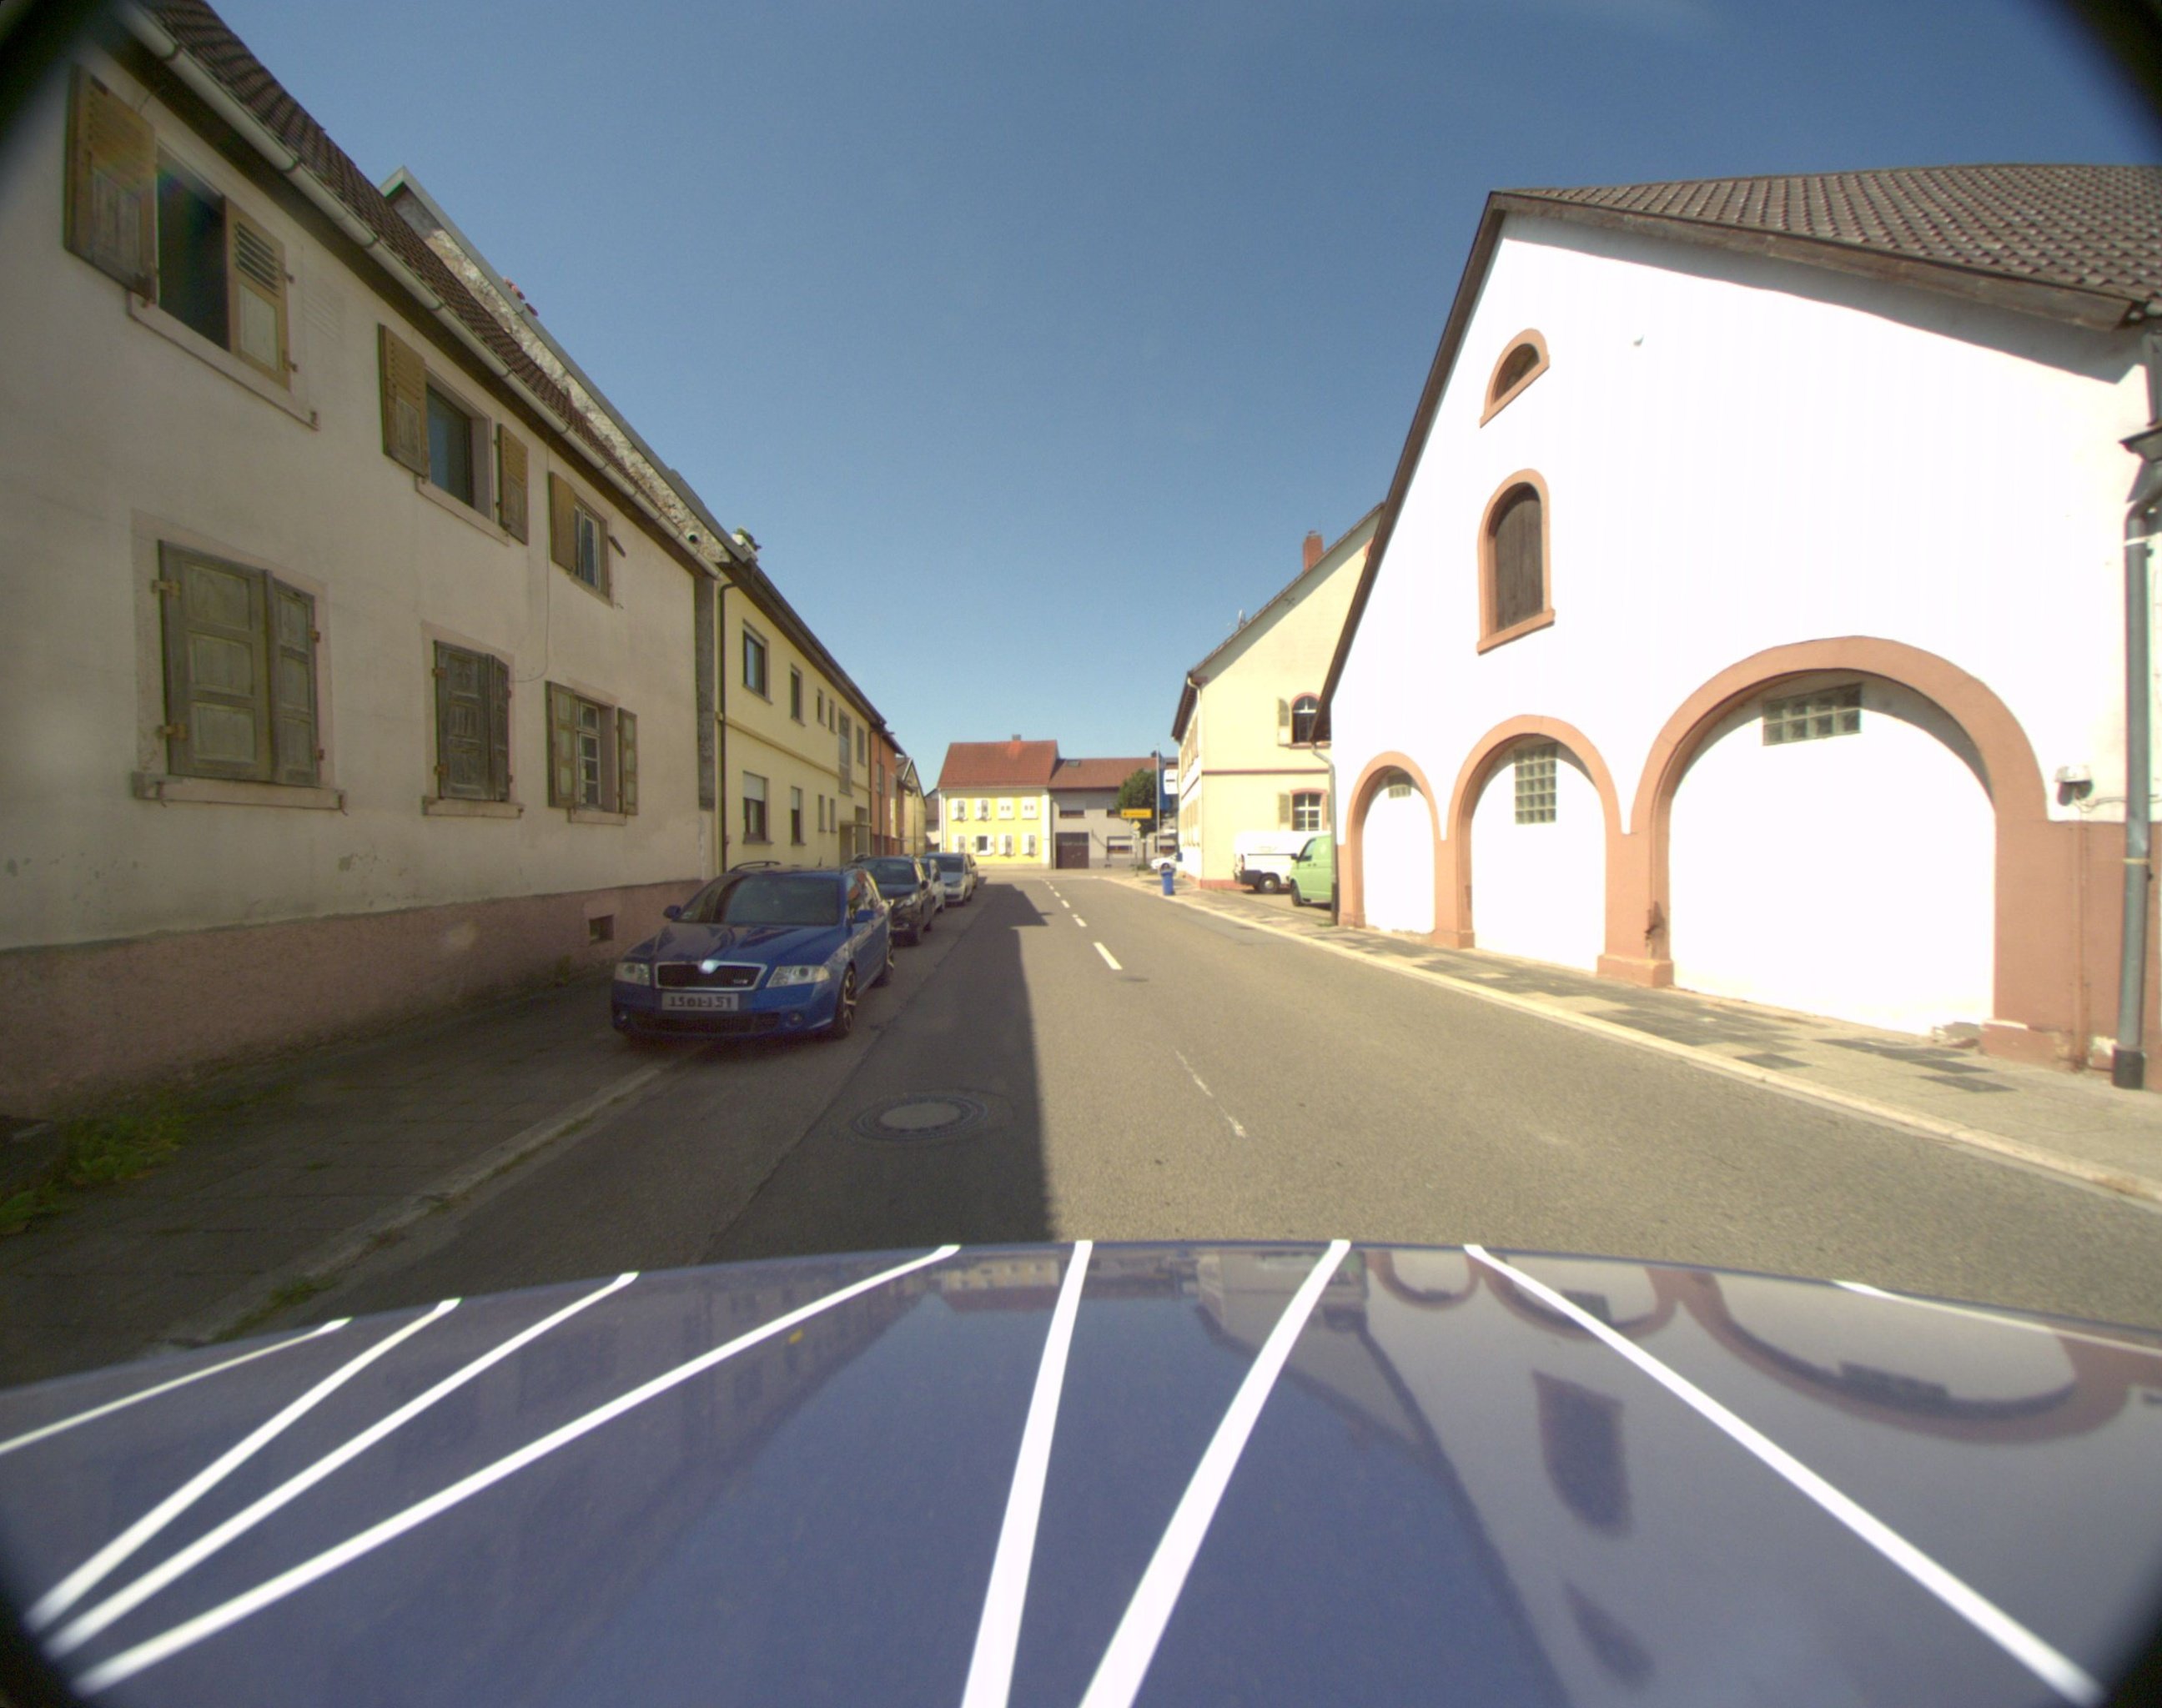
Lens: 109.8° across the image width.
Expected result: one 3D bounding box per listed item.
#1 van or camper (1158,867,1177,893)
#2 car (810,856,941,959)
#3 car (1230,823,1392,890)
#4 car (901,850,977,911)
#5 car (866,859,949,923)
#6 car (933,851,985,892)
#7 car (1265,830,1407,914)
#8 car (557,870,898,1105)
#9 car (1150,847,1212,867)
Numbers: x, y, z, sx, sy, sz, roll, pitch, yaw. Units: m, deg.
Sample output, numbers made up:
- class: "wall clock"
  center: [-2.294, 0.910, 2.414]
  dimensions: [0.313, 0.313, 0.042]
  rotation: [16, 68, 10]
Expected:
- class: "van or camper"
  center: [3.169, 0.950, 27.856]
  dimensions: [0.591, 0.946, 0.600]
  rotation: [-1, 1, 1]
- class: "car"
  center: [-3.633, 0.858, 14.124]
  dimensions: [1.704, 1.575, 4.024]
  rotation: [0, 1, -6]
- class: "car"
  center: [8.087, 0.090, 27.135]
  dimensions: [5.186, 2.184, 2.123]
  rotation: [-2, 1, 6]
- class: "car"
  center: [-4.492, 0.768, 24.612]
  dimensions: [1.904, 1.718, 4.246]
  rotation: [-2, 1, -4]
- class: "car"
  center: [-4.363, 0.878, 19.562]
  dimensions: [1.555, 1.430, 3.718]
  rotation: [0, 1, -4]
- class: "car"
  center: [-5.486, 0.731, 34.735]
  dimensions: [1.849, 1.693, 5.178]
  rotation: [0, 1, -4]
- class: "car"
  center: [6.626, 0.403, 20.356]
  dimensions: [1.999, 1.953, 4.667]
  rotation: [-1, 1, -3]
- class: "car"
  center: [-2.949, 0.959, 7.447]
  dimensions: [1.704, 1.461, 4.407]
  rotation: [0, 1, -6]
- class: "car"
  center: [7.933, 0.211, 60.329]
  dimensions: [4.512, 1.432, 1.854]
  rotation: [-1, 1, -8]
